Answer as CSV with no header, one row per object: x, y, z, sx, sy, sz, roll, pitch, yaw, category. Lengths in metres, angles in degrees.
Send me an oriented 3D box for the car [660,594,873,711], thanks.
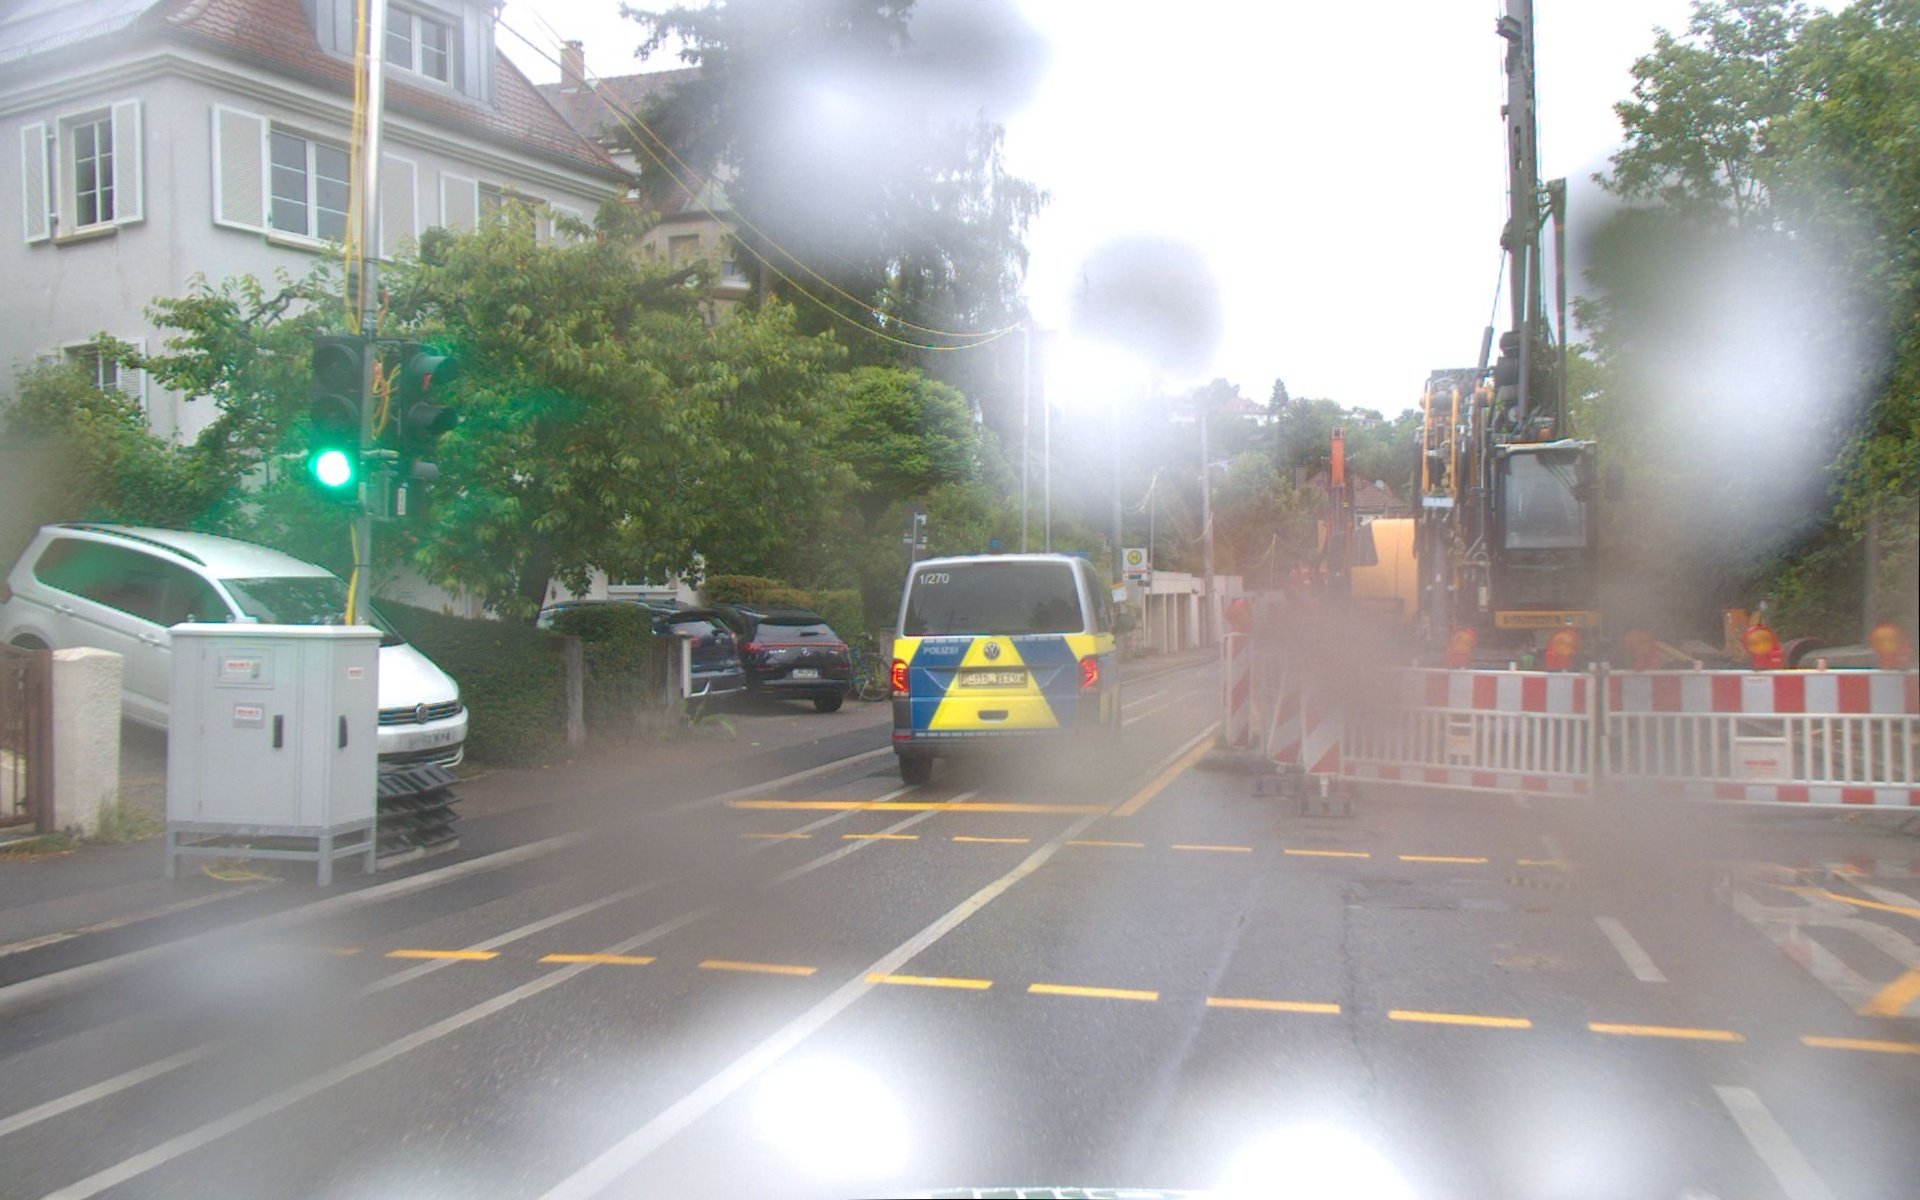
-2.903,0.722,24.081,1.761,1.552,3.963,1,-1,-28,car

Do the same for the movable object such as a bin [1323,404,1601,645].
12.138,-1.580,39.637,3.628,5.155,7.119,-3,-2,42,movable object such as a bin

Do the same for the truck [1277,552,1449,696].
6.552,0.418,26.970,2.496,2.145,3.306,-2,-2,14,truck

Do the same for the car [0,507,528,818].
-6.349,0.402,14.277,4.871,1.643,1.863,11,5,24,car

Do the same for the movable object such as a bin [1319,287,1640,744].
5.566,-0.764,17.934,2.818,4.244,4.490,-2,0,17,movable object such as a bin

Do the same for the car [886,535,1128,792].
0.599,0.549,15.570,1.867,2.046,4.442,0,-1,7,car

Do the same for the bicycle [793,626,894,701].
-1.846,0.988,26.145,1.587,1.151,0.442,0,-1,28,bicycle

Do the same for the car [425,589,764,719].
-4.726,0.667,21.443,3.906,1.552,1.940,0,-1,24,car
